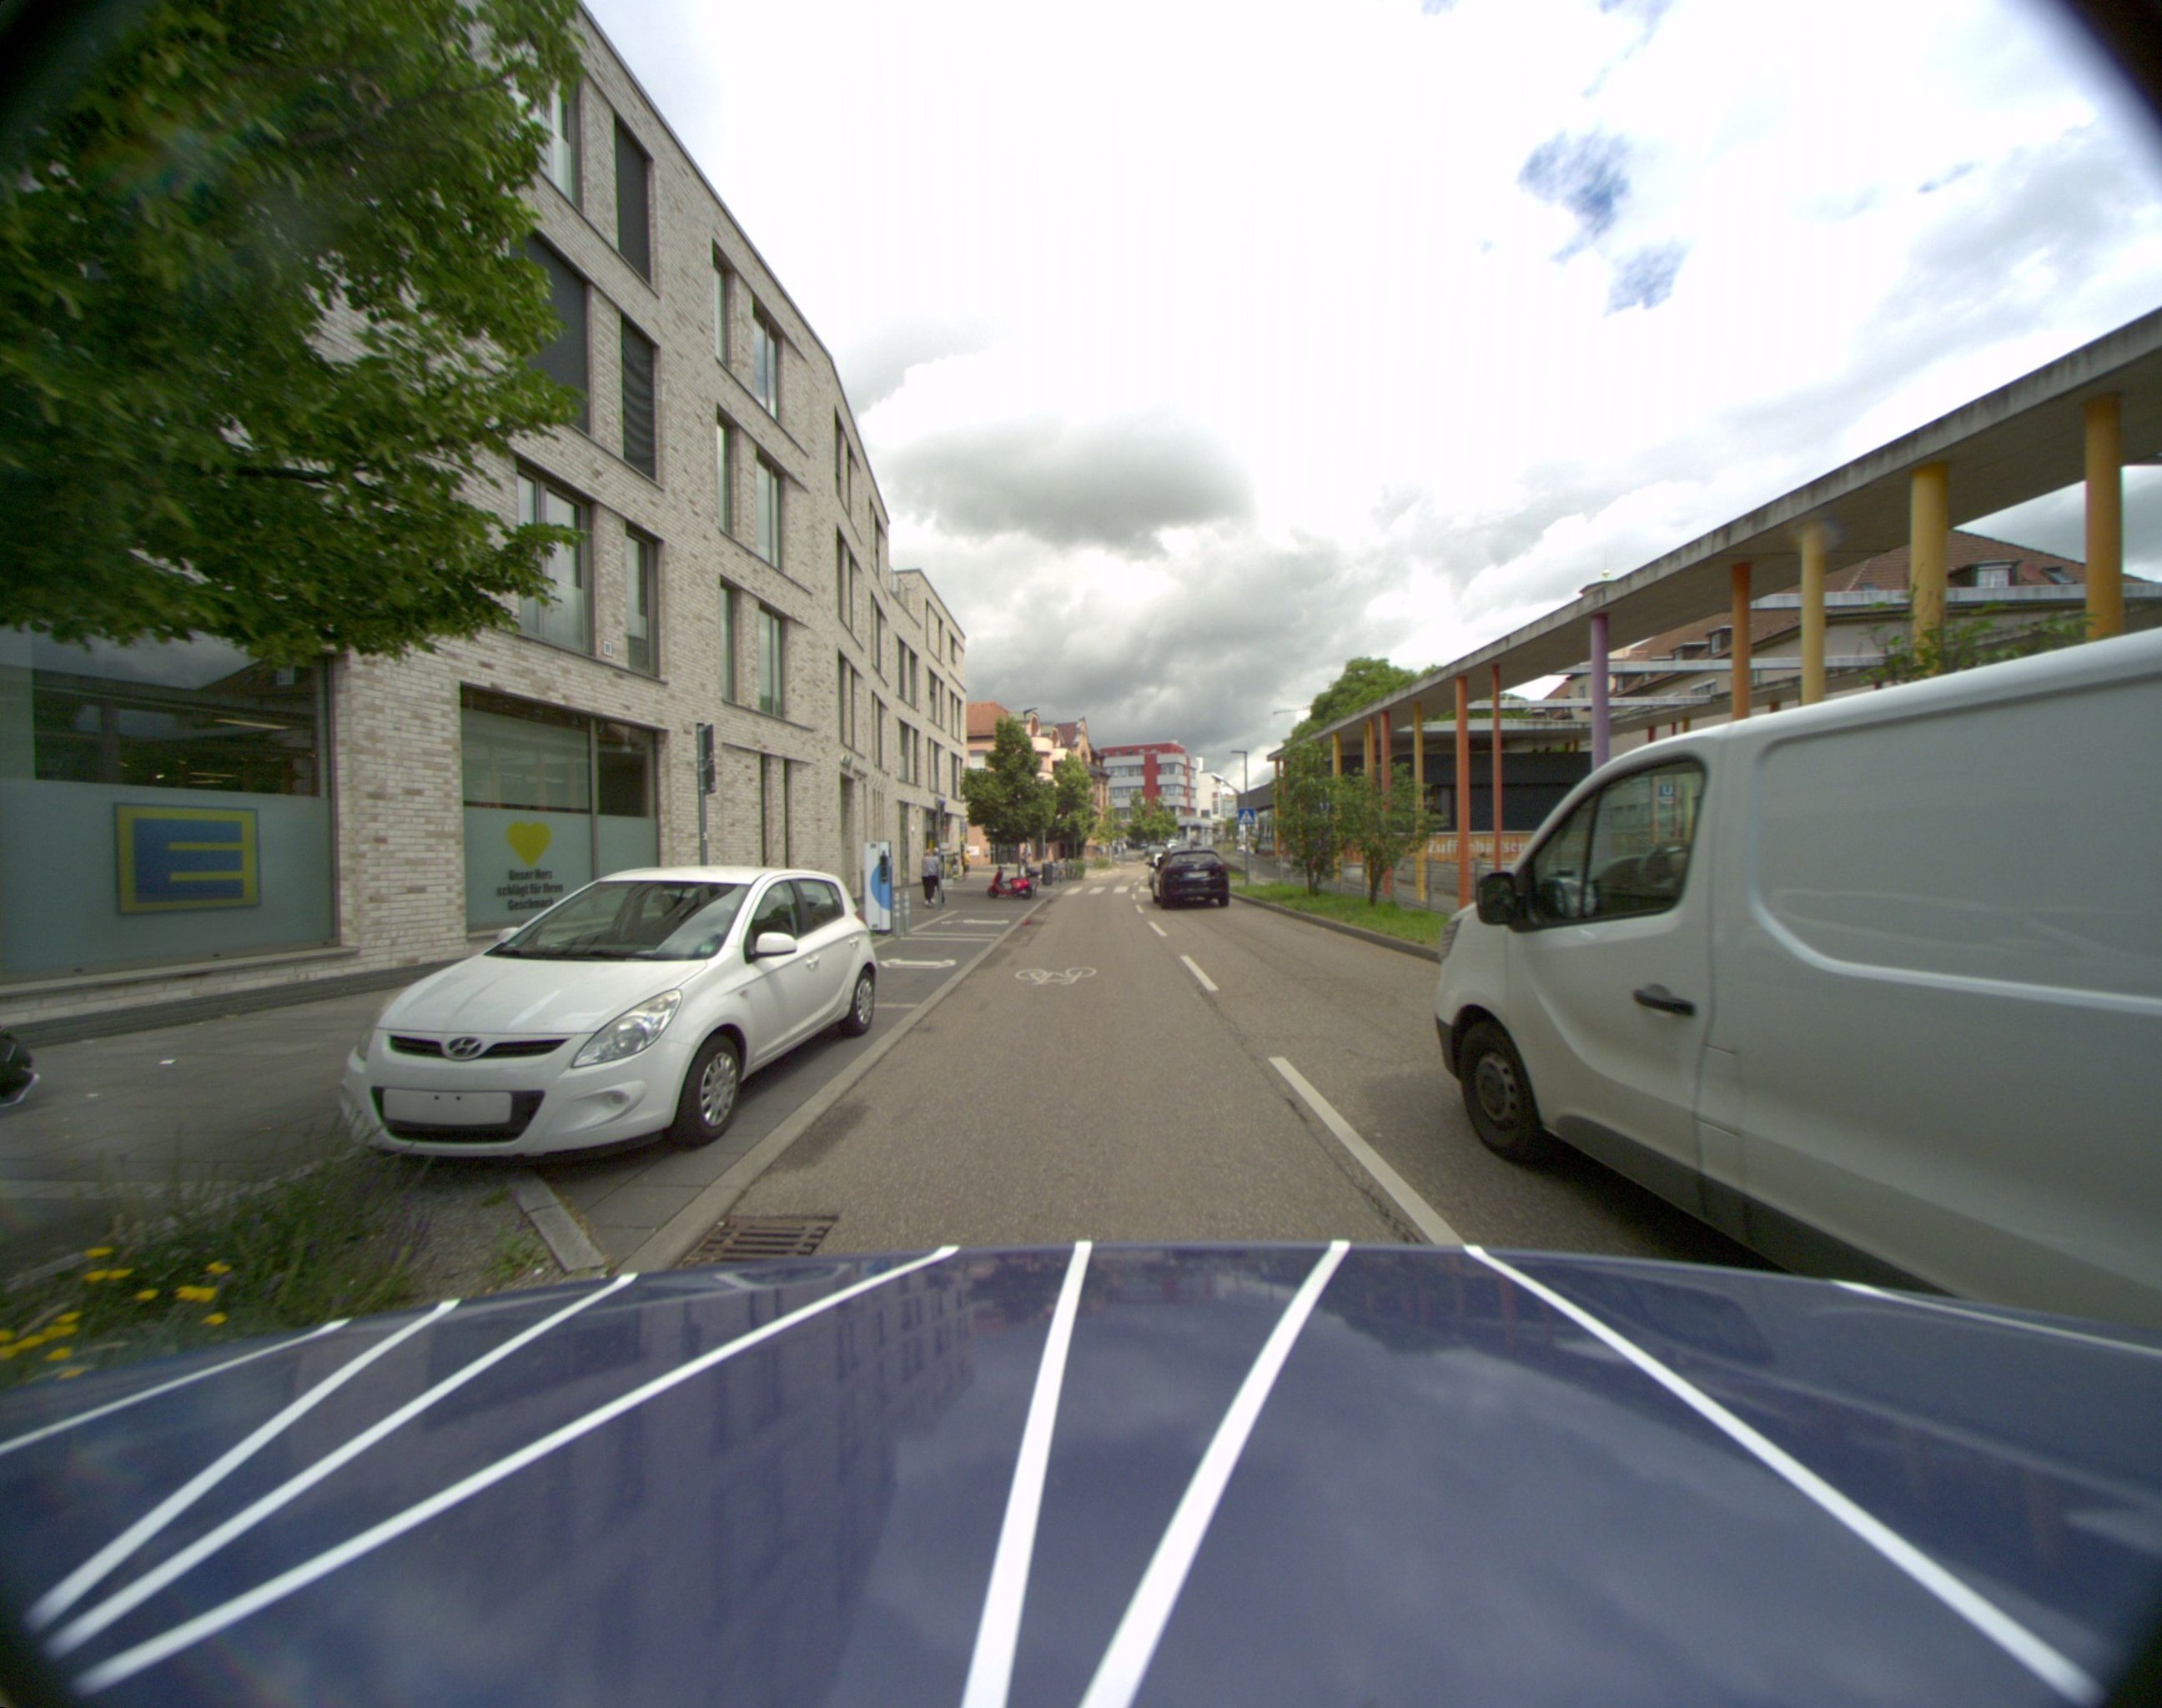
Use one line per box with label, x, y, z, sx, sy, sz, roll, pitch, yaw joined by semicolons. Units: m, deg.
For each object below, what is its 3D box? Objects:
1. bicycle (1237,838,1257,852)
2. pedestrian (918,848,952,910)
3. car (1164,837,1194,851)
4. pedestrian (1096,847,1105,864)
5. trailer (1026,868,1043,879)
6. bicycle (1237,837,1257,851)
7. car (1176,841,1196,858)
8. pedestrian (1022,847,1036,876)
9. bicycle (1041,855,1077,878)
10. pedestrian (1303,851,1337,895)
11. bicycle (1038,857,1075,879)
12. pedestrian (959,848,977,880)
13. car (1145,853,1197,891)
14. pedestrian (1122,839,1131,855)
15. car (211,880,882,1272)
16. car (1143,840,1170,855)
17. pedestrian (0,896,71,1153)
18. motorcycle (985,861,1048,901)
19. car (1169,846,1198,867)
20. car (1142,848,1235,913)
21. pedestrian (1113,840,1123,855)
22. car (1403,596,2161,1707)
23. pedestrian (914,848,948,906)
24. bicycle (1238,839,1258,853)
bicycle;13.243;-0.726;60.703;1.548;1.121;0.534;0;2;15
pedestrian;-4.281;0.717;22.269;0.622;1.757;0.739;1;3;37
car;13.563;-1.408;105.089;4.006;1.653;1.839;-4;3;-37
pedestrian;1.918;0.142;74.670;0.745;1.630;0.928;2;2;14
trailer;-2.555;1.070;41.512;0.721;0.525;0.812;-1;1;12
bicycle;13.793;-0.831;63.134;1.548;1.121;0.534;0;2;15
car;10.975;-0.450;79.134;1.802;1.571;4.002;-2;2;11
pedestrian;-3.120;0.450;45.895;0.659;1.732;1.018;0;1;7
bicycle;-1.177;0.665;41.125;1.826;1.194;0.756;0;2;8
pedestrian;8.777;0.683;27.909;0.929;1.556;0.814;-2;3;0
bicycle;-1.295;0.738;40.304;1.826;1.125;0.756;0;2;8
pedestrian;-5.989;0.533;40.244;0.658;1.683;0.633;1;2;42
car;3.776;0.722;32.428;1.816;1.460;3.908;-2;1;2
pedestrian;5.128;-0.783;85.120;0.696;1.649;0.741;-1;3;26
car;-2.776;0.999;5.115;1.696;1.475;3.798;1;0;3
car;7.997;-0.722;80.007;1.996;1.406;4.740;0;2;15
pedestrian;-6.553;0.993;4.308;0.608;1.464;0.791;1;1;9
motorcycle;-2.235;0.915;26.340;2.052;1.259;0.673;1;2;19
car;7.686;0.130;57.269;1.776;1.455;4.235;-2;1;4
car;2.969;0.663;21.885;1.924;1.595;4.626;-2;1;-1
pedestrian;4.119;-0.731;84.963;0.738;1.631;0.677;0;3;40
car;2.755;0.504;1.670;2.009;1.906;5.064;-2;1;2
pedestrian;-4.612;0.696;23.353;0.756;1.757;0.735;0;2;13
bicycle;13.716;-0.679;62.429;1.548;1.121;0.534;0;2;15
